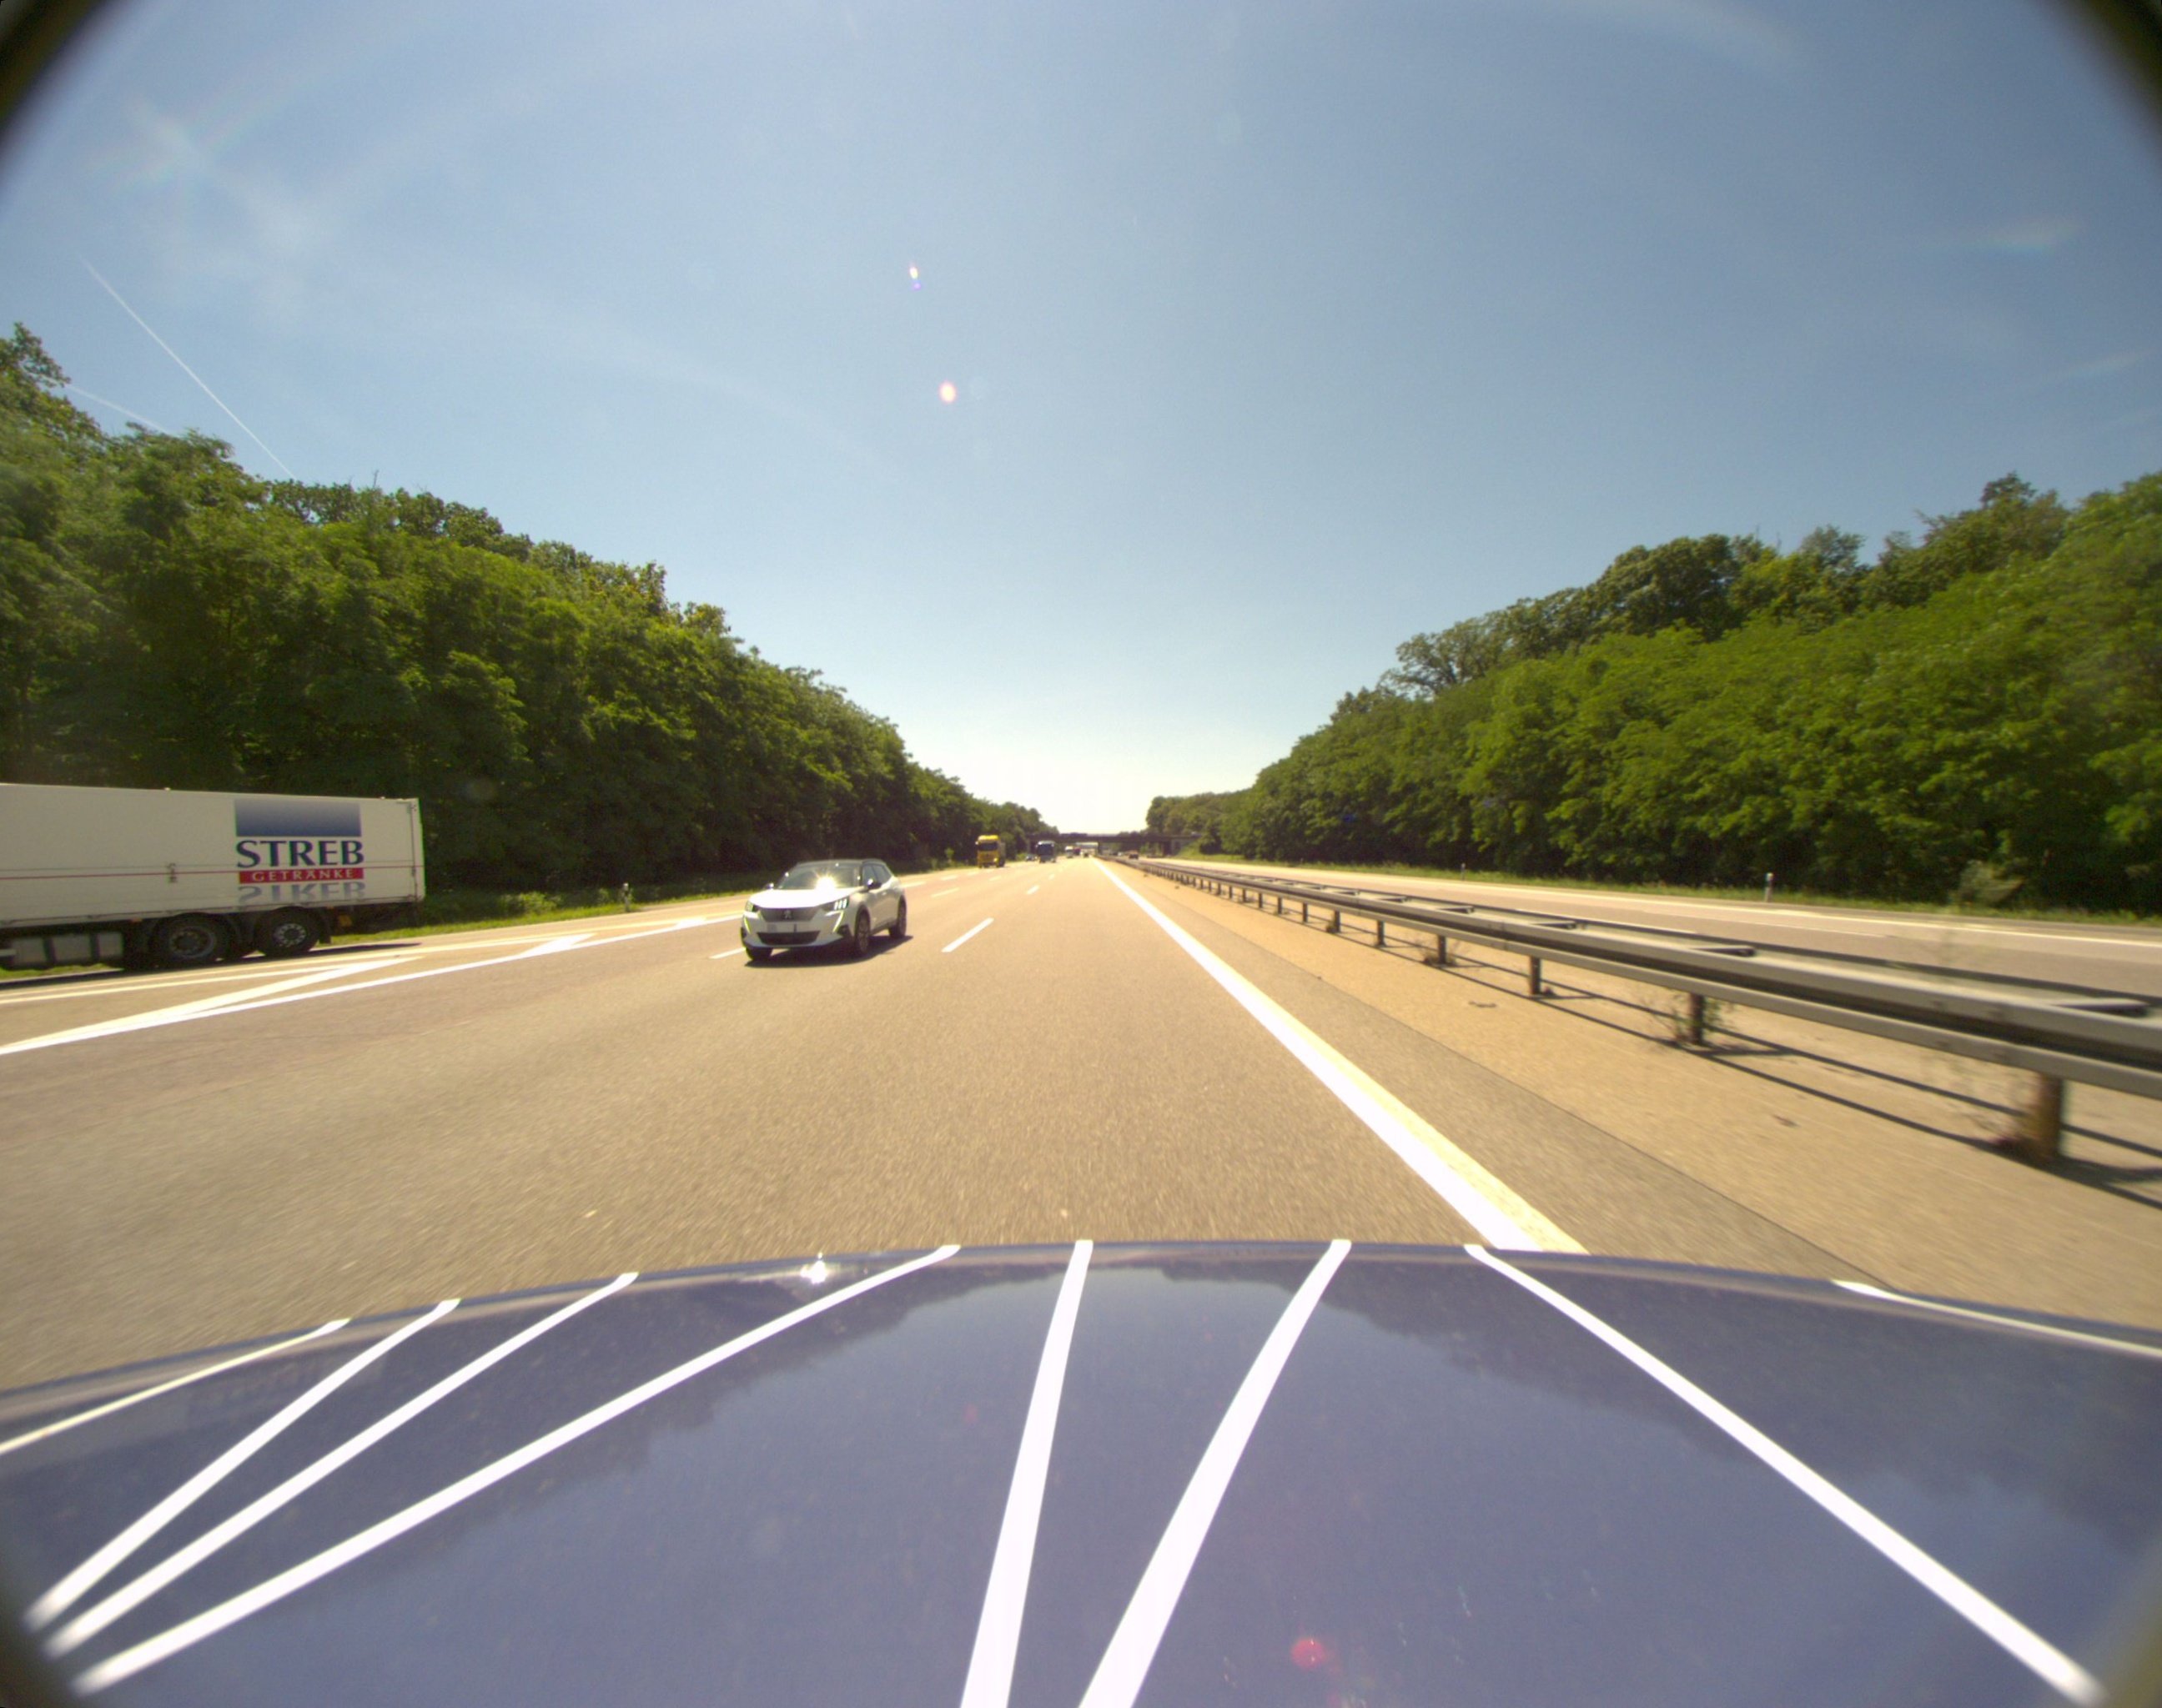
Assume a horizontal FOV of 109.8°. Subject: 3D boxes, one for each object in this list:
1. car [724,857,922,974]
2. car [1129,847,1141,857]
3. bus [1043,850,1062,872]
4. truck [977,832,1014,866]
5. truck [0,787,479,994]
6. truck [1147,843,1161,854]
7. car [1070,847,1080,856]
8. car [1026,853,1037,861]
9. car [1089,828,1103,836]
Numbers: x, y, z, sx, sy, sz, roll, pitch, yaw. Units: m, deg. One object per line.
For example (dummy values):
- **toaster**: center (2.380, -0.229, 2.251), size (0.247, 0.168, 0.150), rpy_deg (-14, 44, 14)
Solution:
- **car**: center (-4.287, 0.913, 13.546), size (1.832, 1.599, 4.808), rpy_deg (-2, 1, 0)
- **car**: center (11.080, -0.485, 156.798), size (1.998, 1.952, 5.210), rpy_deg (-2, 1, 0)
- **bus**: center (-4.923, 1.162, 132.345), size (2.617, 3.532, 13.681), rpy_deg (-2, 1, 0)
- **truck**: center (-10.903, -0.648, 97.966), size (2.982, 4.013, 10.981), rpy_deg (-3, 1, 2)
- **truck**: center (-18.086, 0.595, 14.005), size (3.031, 3.300, 10.785), rpy_deg (-2, 1, 21)
- **truck**: center (20.055, -1.516, 209.725), size (2.760, 2.973, 12.854), rpy_deg (0, 1, 0)
- **car**: center (-1.552, -0.618, 213.953), size (2.616, 2.389, 7.122), rpy_deg (-2, 1, 0)
- **car**: center (-10.440, 0.622, 160.279), size (1.875, 1.547, 4.201), rpy_deg (-2, 1, 0)
- **car**: center (4.465, -6.677, 231.553), size (3.998, 2.002, 1.999), rpy_deg (-2, 1, -3)
